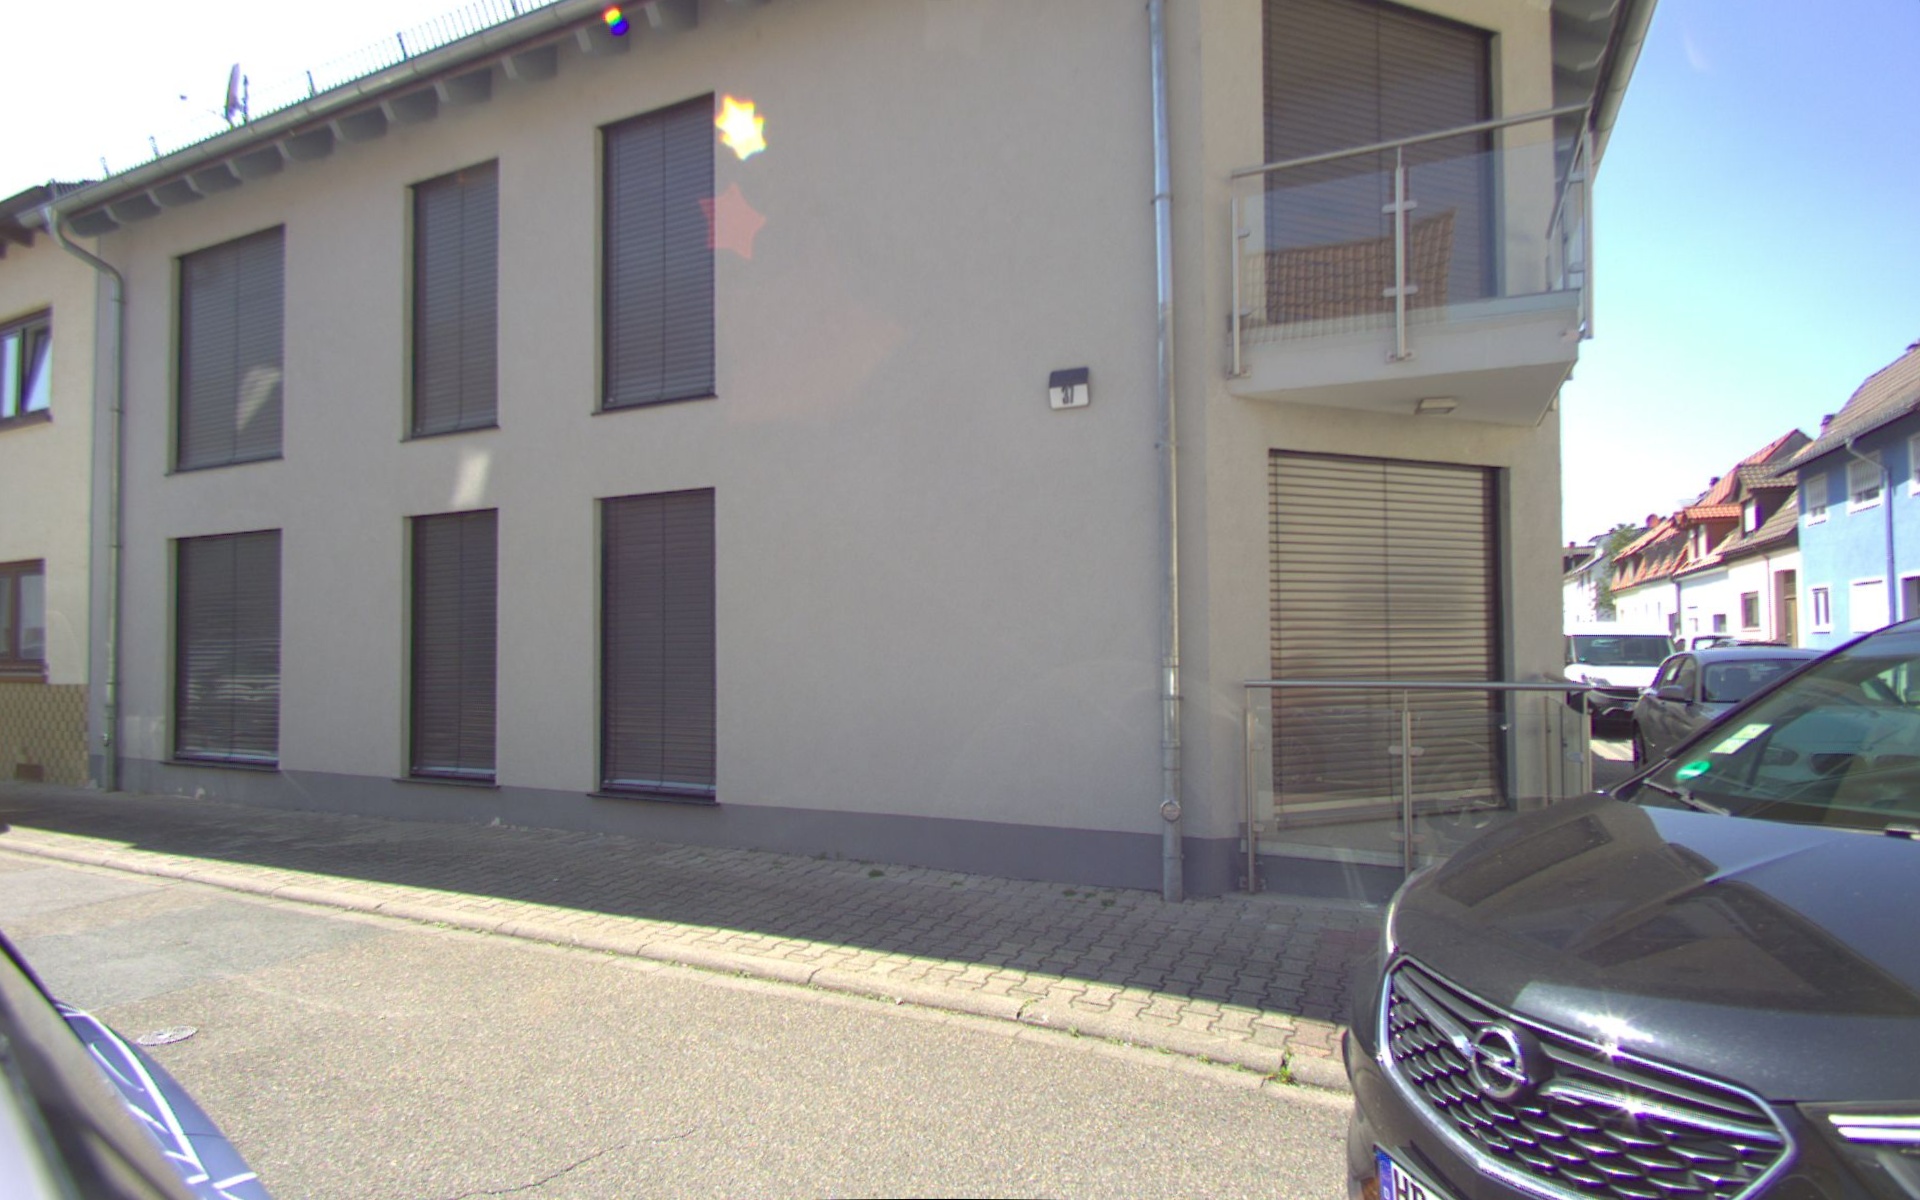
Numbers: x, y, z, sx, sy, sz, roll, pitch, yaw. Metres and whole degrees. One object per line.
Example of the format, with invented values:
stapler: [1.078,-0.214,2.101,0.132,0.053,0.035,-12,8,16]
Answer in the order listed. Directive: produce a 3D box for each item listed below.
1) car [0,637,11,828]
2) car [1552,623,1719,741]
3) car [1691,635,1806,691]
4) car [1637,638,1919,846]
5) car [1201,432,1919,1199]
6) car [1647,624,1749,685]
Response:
car: [-10.516,1.148,8.774,4.322,1.628,1.765,-2,-4,24]
car: [11.175,1.296,17.010,1.675,1.743,3.755,-1,-3,24]
car: [22.893,1.794,29.551,1.716,1.513,4.179,-1,-3,25]
car: [7.216,1.073,8.894,1.631,1.379,3.890,-4,-3,28]
car: [2.846,0.683,2.029,4.209,1.595,1.767,0,-4,-14]
car: [26.663,1.917,36.698,1.986,2.029,3.971,-1,-1,22]
